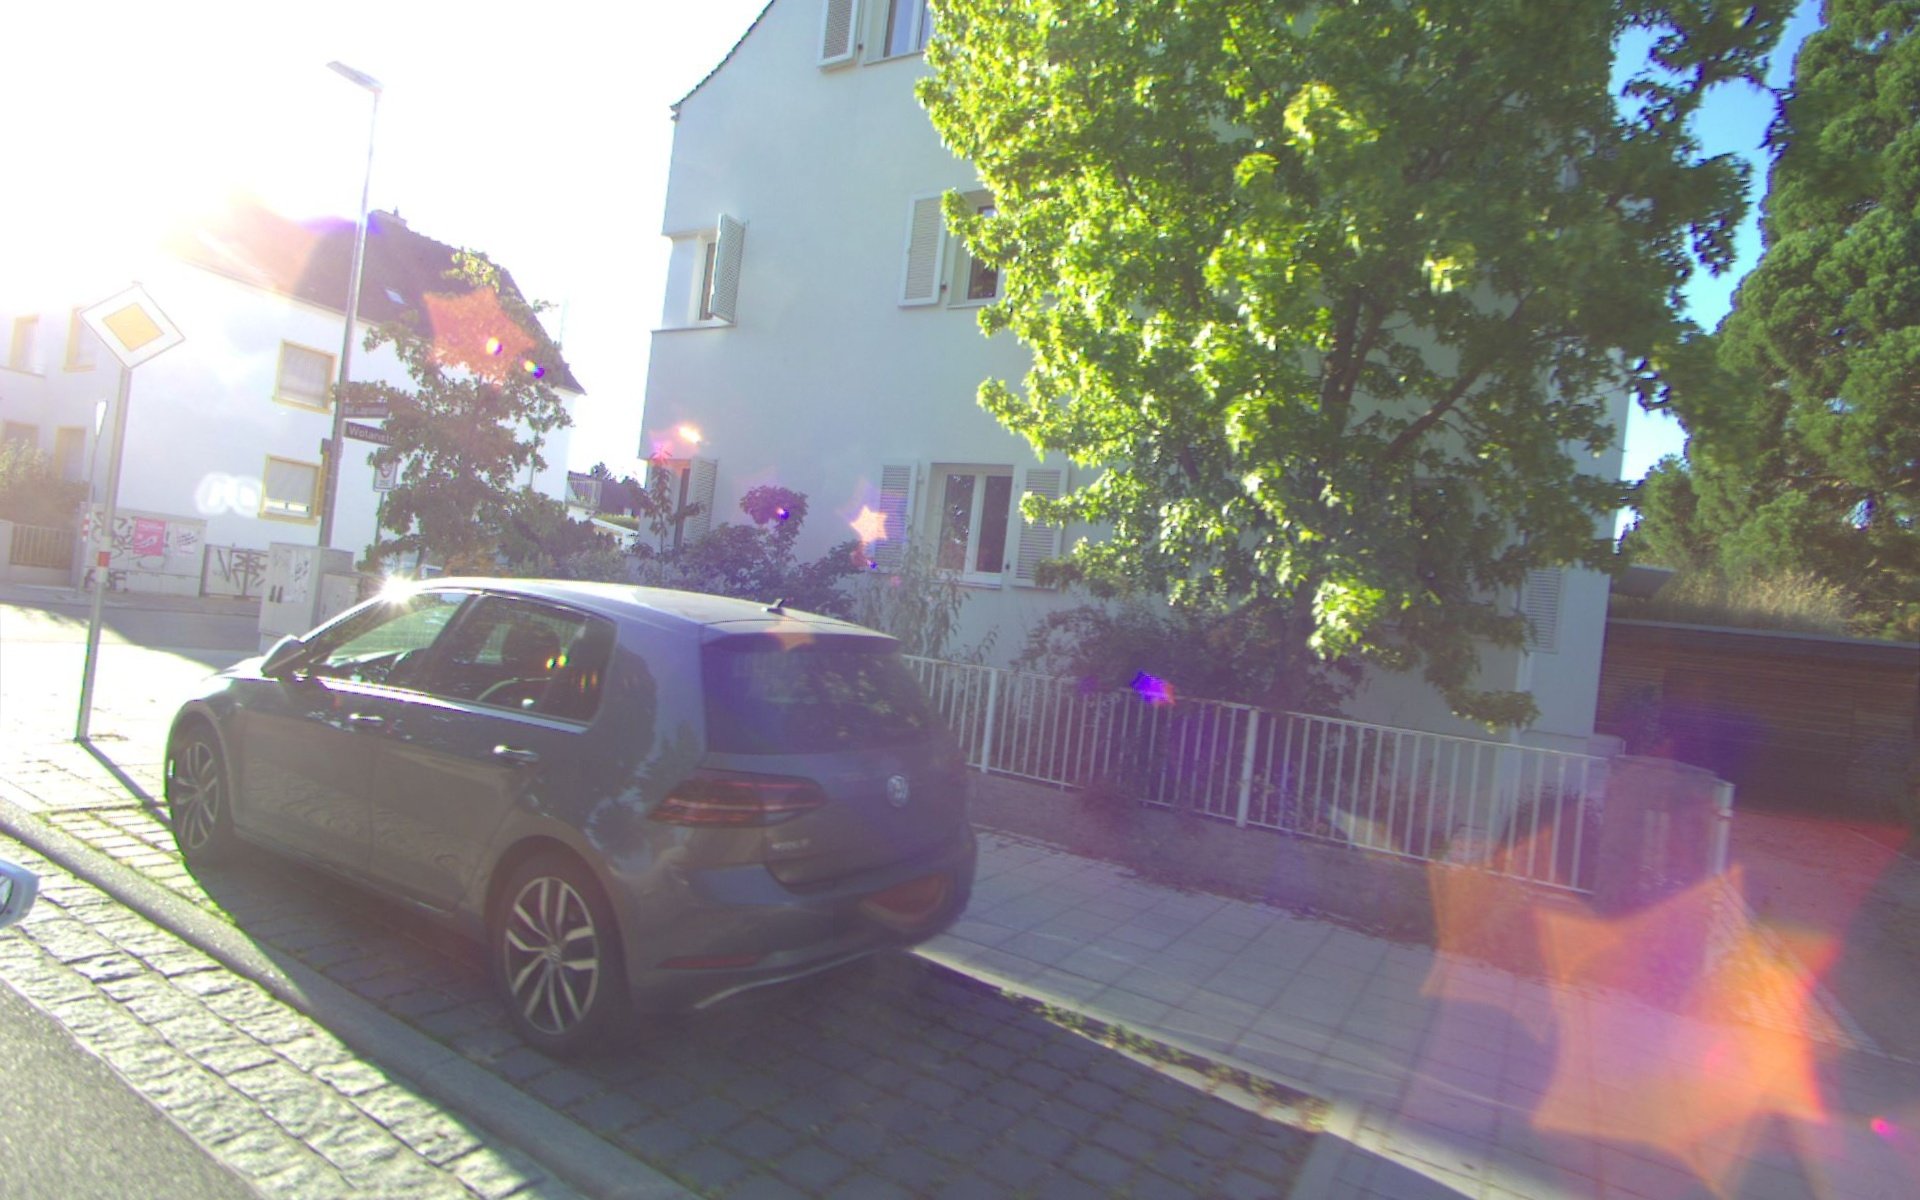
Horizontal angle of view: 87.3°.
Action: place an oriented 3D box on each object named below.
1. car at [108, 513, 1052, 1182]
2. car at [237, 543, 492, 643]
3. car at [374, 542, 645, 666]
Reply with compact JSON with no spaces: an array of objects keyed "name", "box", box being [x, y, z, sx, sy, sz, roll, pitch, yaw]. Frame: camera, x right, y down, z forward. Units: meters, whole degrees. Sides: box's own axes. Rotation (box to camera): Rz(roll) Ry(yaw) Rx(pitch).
[{"name":"car","box":[-1.871,0.603,4.489,4.055,1.502,1.794,8,2,33]},{"name":"car","box":[-12.271,-0.084,21.005,1.862,1.487,4.082,6,-3,29]},{"name":"car","box":[-8.096,0.151,18.475,1.862,1.708,4.100,6,-3,29]}]
